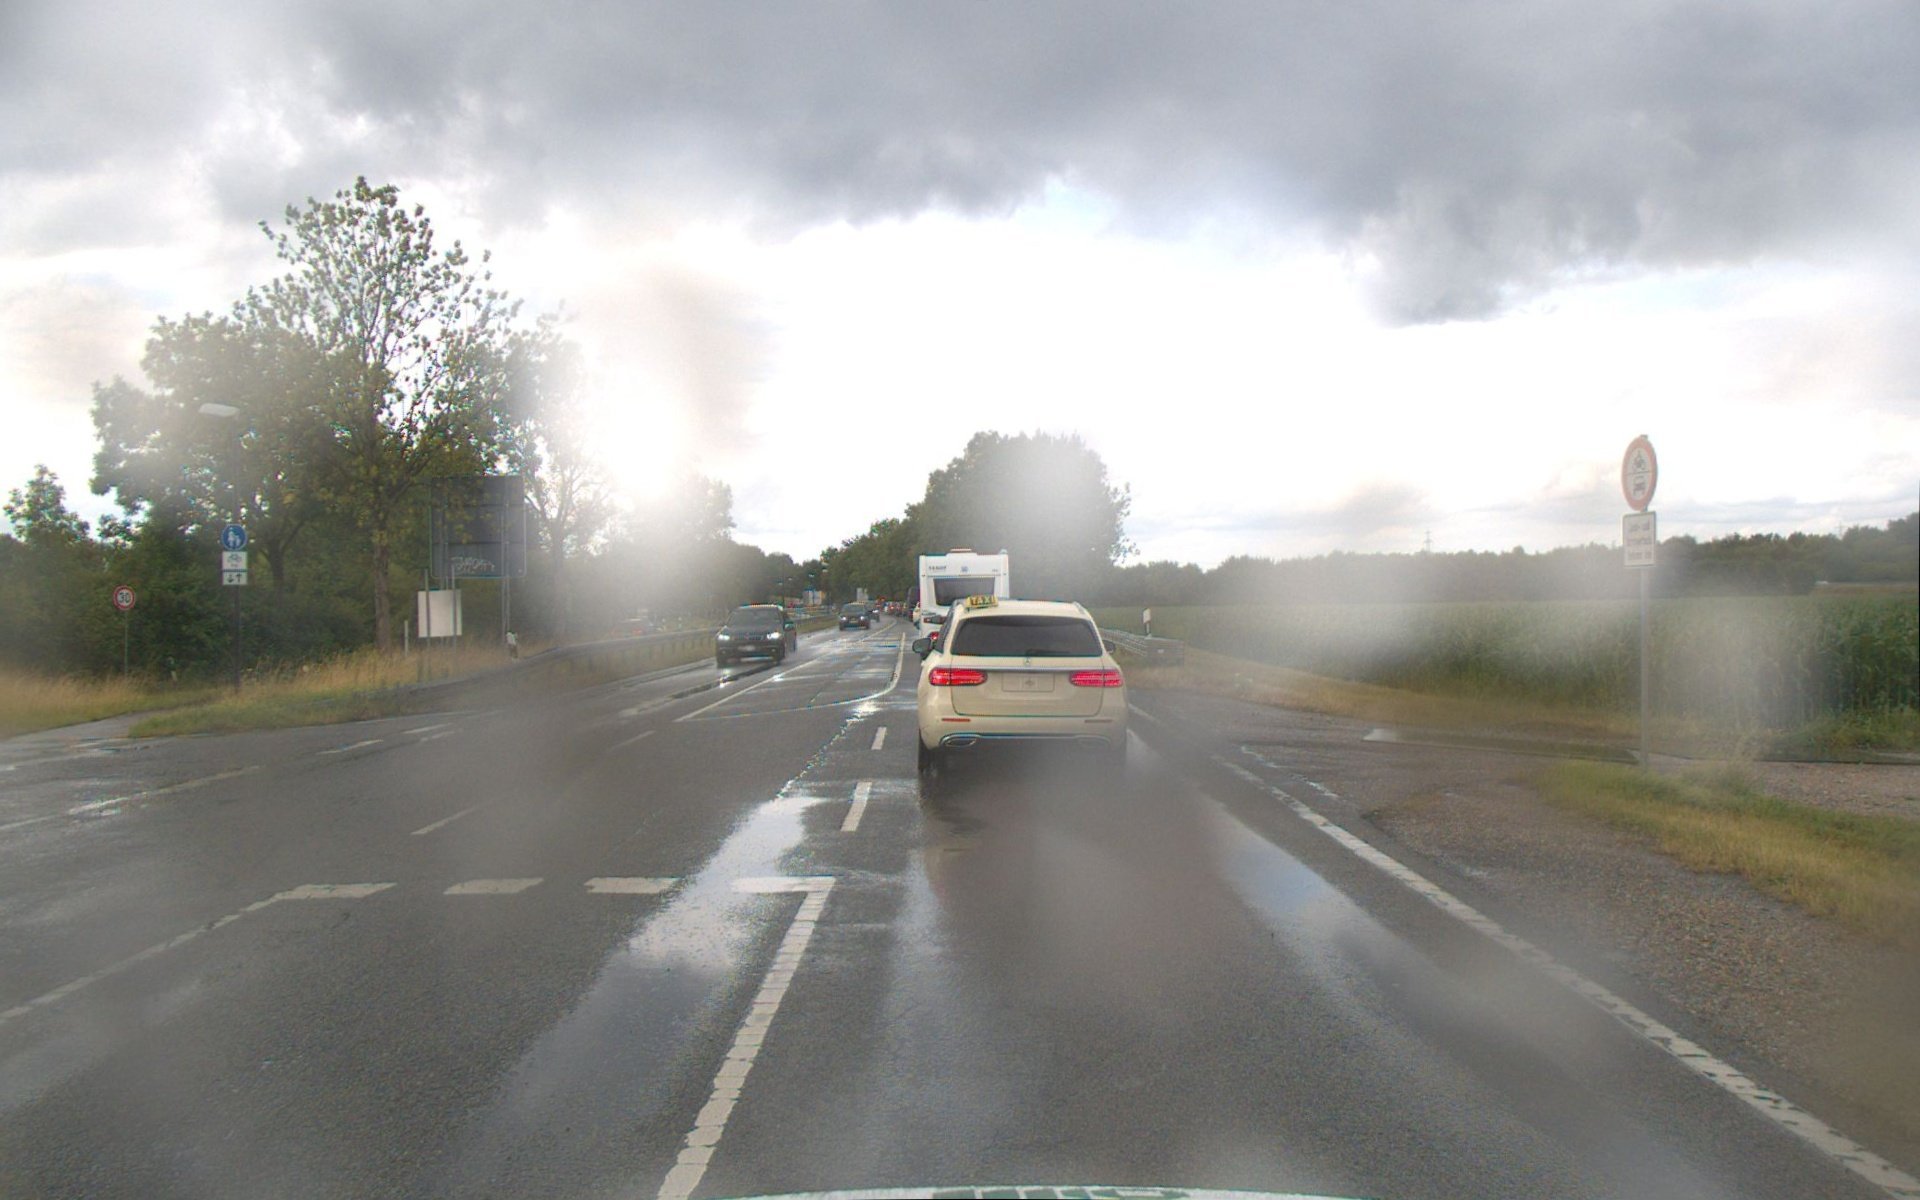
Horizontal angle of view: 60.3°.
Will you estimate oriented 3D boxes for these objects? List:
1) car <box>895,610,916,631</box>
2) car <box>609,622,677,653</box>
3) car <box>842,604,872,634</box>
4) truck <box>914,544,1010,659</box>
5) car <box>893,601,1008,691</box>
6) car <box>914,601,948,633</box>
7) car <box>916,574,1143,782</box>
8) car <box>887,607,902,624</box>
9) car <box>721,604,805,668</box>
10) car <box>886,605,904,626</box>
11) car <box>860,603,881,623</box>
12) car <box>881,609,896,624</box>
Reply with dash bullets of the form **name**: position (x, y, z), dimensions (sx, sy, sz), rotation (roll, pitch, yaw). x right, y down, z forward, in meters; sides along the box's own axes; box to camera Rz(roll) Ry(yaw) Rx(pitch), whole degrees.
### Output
- **car**: position (-4.733, 1.788, 145.002), dimensions (1.755, 1.808, 3.720), rotation (-1, 0, -1)
- **car**: position (-16.921, 1.990, 88.572), dimensions (2.253, 1.574, 4.636), rotation (1, 0, 7)
- **car**: position (-5.891, 1.061, 94.537), dimensions (1.548, 1.668, 3.441), rotation (-1, 0, -1)
- **truck**: position (-0.003, 0.032, 44.320), dimensions (2.315, 2.776, 7.313), rotation (-1, 0, -1)
- **car**: position (-0.186, 0.804, 30.419), dimensions (1.953, 1.488, 3.999), rotation (1, 0, -1)
- **car**: position (-1.704, 0.990, 99.428), dimensions (1.876, 1.873, 3.796), rotation (-1, 0, 1)
- **car**: position (0.531, 0.633, 15.233), dimensions (1.805, 1.646, 3.999), rotation (0, 0, -1)
- **car**: position (-7.528, 1.785, 190.156), dimensions (1.705, 1.892, 3.784), rotation (-1, 0, -1)
- **car**: position (-5.257, 0.943, 44.534), dimensions (1.791, 1.601, 3.999), rotation (1, 0, 0)
- **car**: position (-6.765, 1.607, 171.990), dimensions (1.814, 2.049, 3.810), rotation (-1, 0, -1)
- **car**: position (-6.996, 1.032, 129.764), dimensions (1.575, 1.518, 3.783), rotation (-1, 0, -3)
- **car**: position (-8.577, 1.965, 199.089), dimensions (1.714, 1.691, 3.669), rotation (-2, 0, -4)
